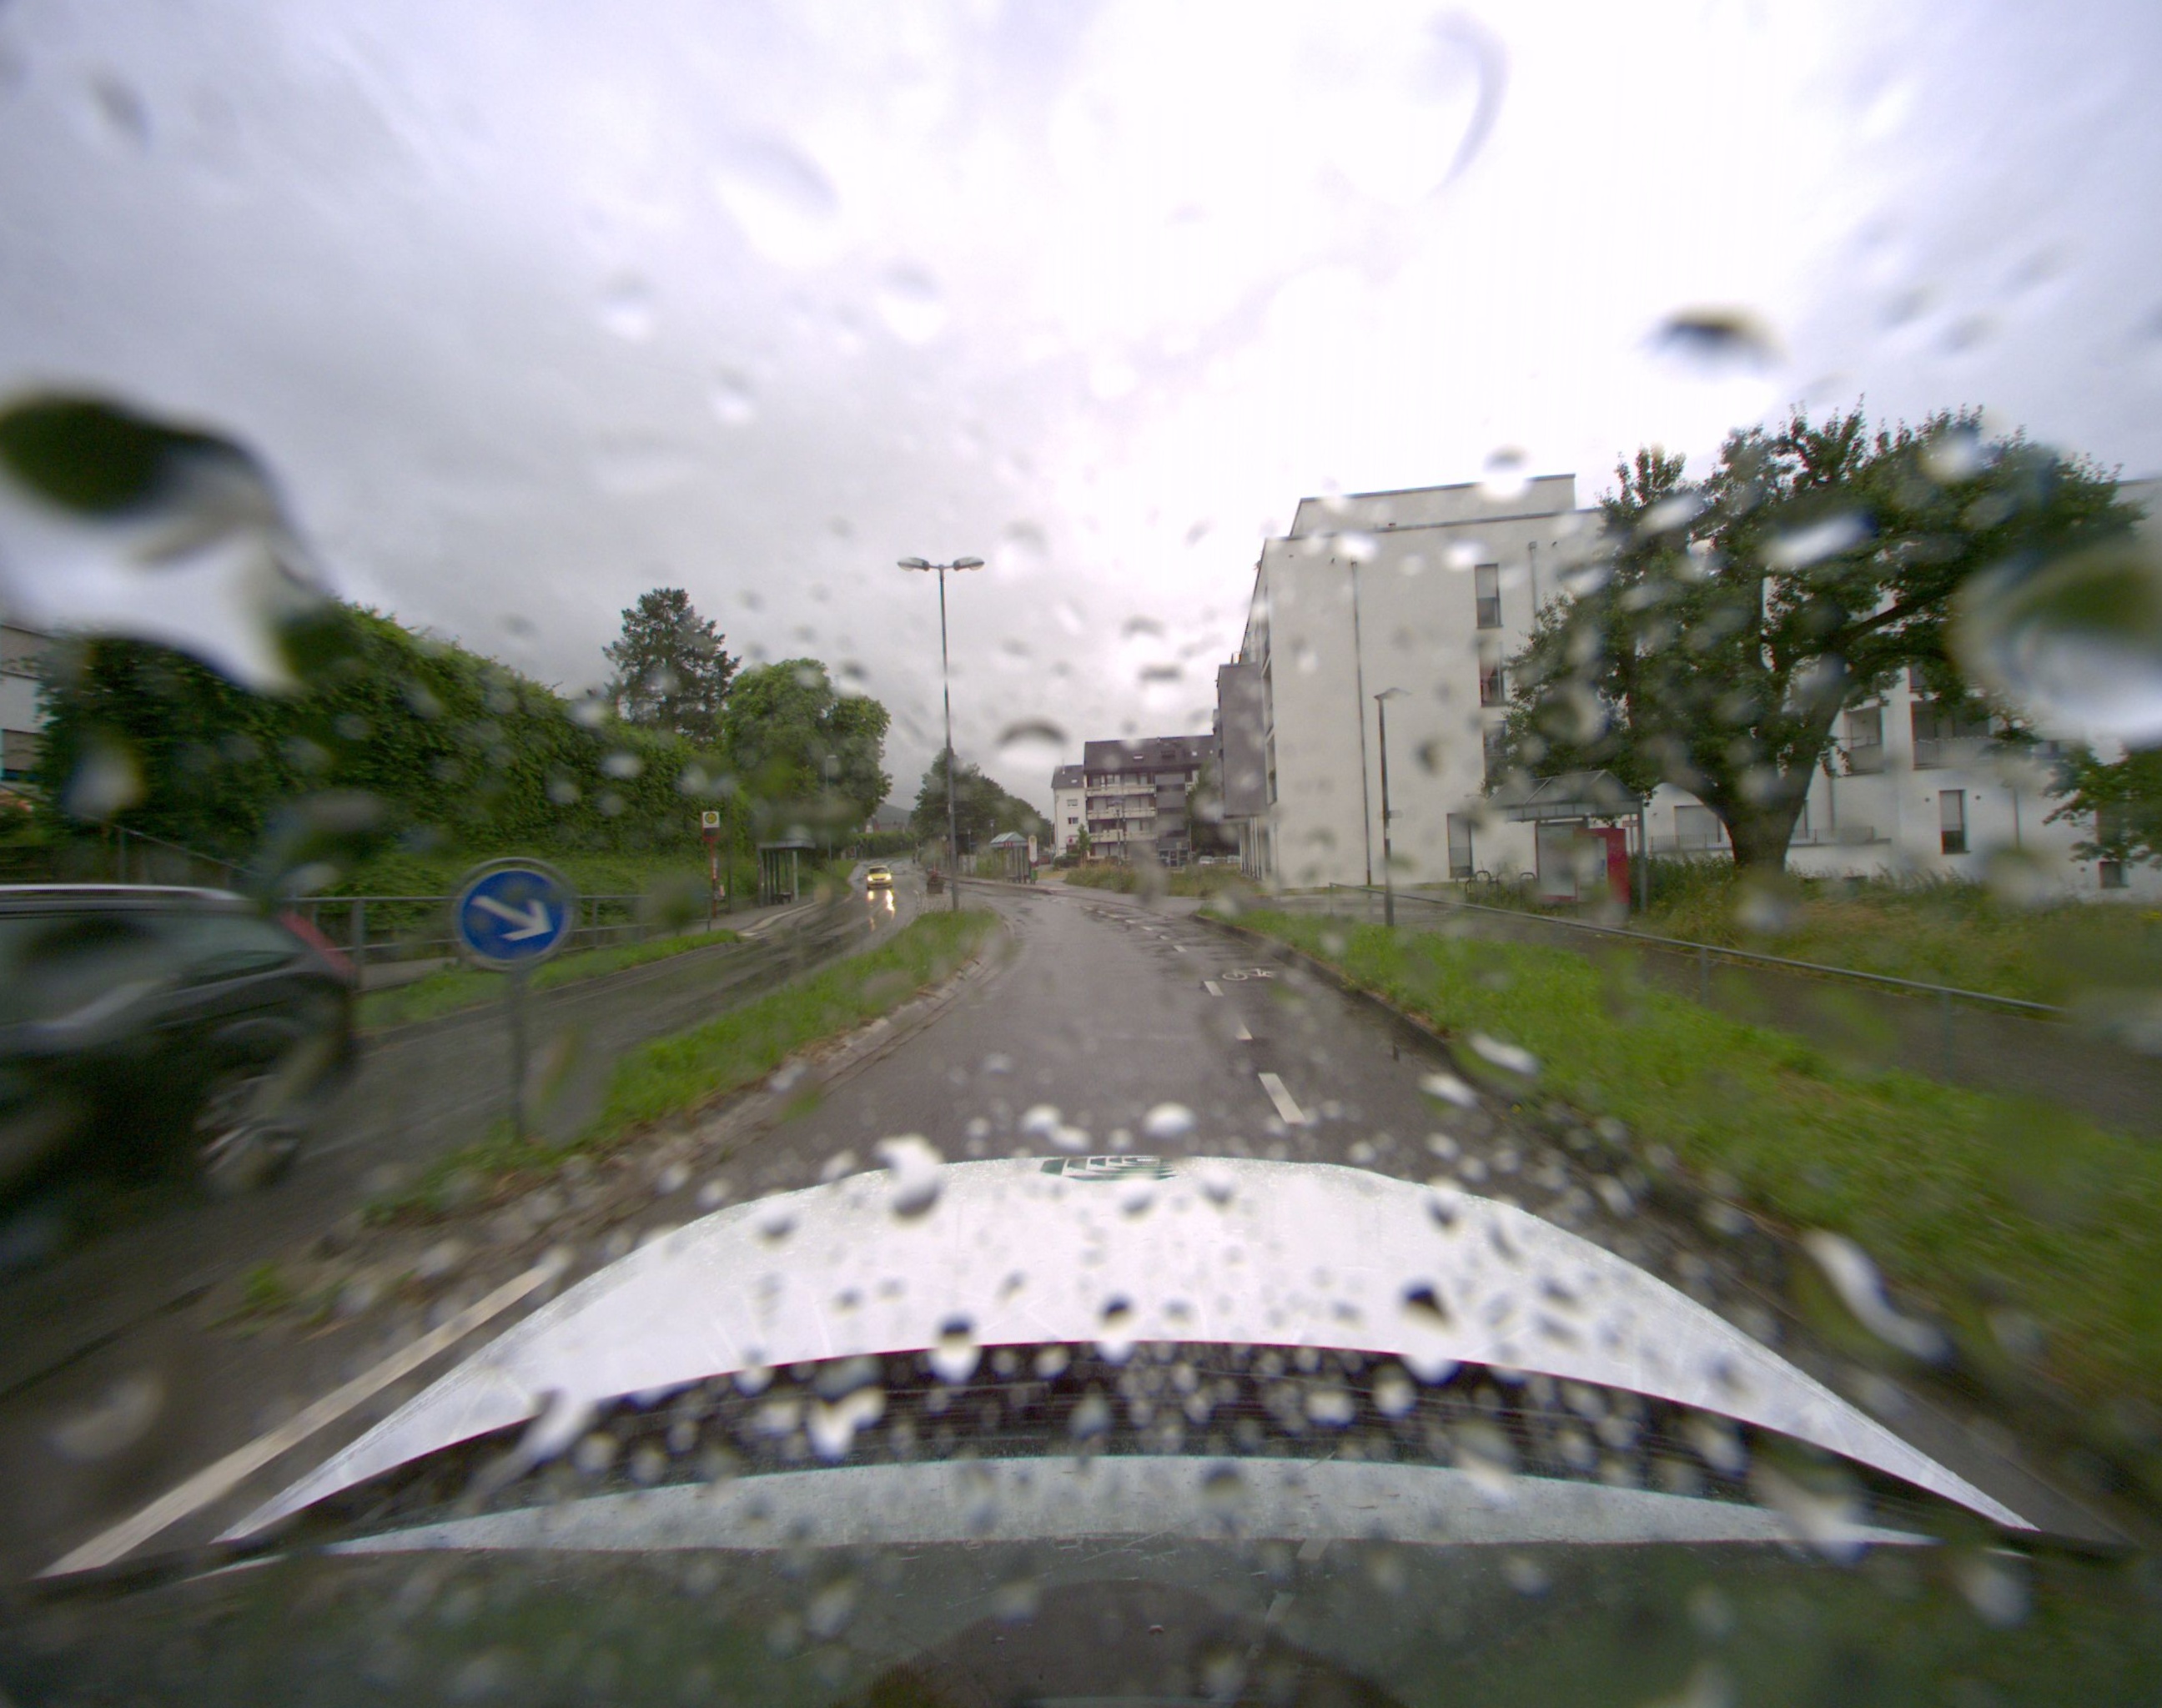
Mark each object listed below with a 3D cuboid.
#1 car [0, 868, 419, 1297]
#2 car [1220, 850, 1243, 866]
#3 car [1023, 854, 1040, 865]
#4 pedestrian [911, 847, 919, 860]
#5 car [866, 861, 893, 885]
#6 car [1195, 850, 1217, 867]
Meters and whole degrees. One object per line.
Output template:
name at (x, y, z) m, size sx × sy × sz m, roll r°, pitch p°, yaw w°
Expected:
car at (-4.748, 0.875, 2.780) m, size 1.758 × 1.503 × 4.134 m, roll -3°, pitch 0°, yaw -5°
car at (14.479, 0.409, 78.261) m, size 1.708 × 1.441 × 3.709 m, roll -2°, pitch -2°, yaw 3°
car at (-6.884, 0.726, 113.814) m, size 1.691 × 1.438 × 3.595 m, roll -2°, pitch 2°, yaw -14°
pedestrian at (-22.932, -0.120, 112.477) m, size 0.921 × 1.675 × 1.052 m, roll -4°, pitch 2°, yaw -14°
car at (-13.487, 1.266, 54.657) m, size 1.574 × 1.410 × 3.459 m, roll -4°, pitch 1°, yaw -12°
car at (12.042, 0.469, 78.645) m, size 1.708 × 1.441 × 3.709 m, roll -2°, pitch -2°, yaw 3°
